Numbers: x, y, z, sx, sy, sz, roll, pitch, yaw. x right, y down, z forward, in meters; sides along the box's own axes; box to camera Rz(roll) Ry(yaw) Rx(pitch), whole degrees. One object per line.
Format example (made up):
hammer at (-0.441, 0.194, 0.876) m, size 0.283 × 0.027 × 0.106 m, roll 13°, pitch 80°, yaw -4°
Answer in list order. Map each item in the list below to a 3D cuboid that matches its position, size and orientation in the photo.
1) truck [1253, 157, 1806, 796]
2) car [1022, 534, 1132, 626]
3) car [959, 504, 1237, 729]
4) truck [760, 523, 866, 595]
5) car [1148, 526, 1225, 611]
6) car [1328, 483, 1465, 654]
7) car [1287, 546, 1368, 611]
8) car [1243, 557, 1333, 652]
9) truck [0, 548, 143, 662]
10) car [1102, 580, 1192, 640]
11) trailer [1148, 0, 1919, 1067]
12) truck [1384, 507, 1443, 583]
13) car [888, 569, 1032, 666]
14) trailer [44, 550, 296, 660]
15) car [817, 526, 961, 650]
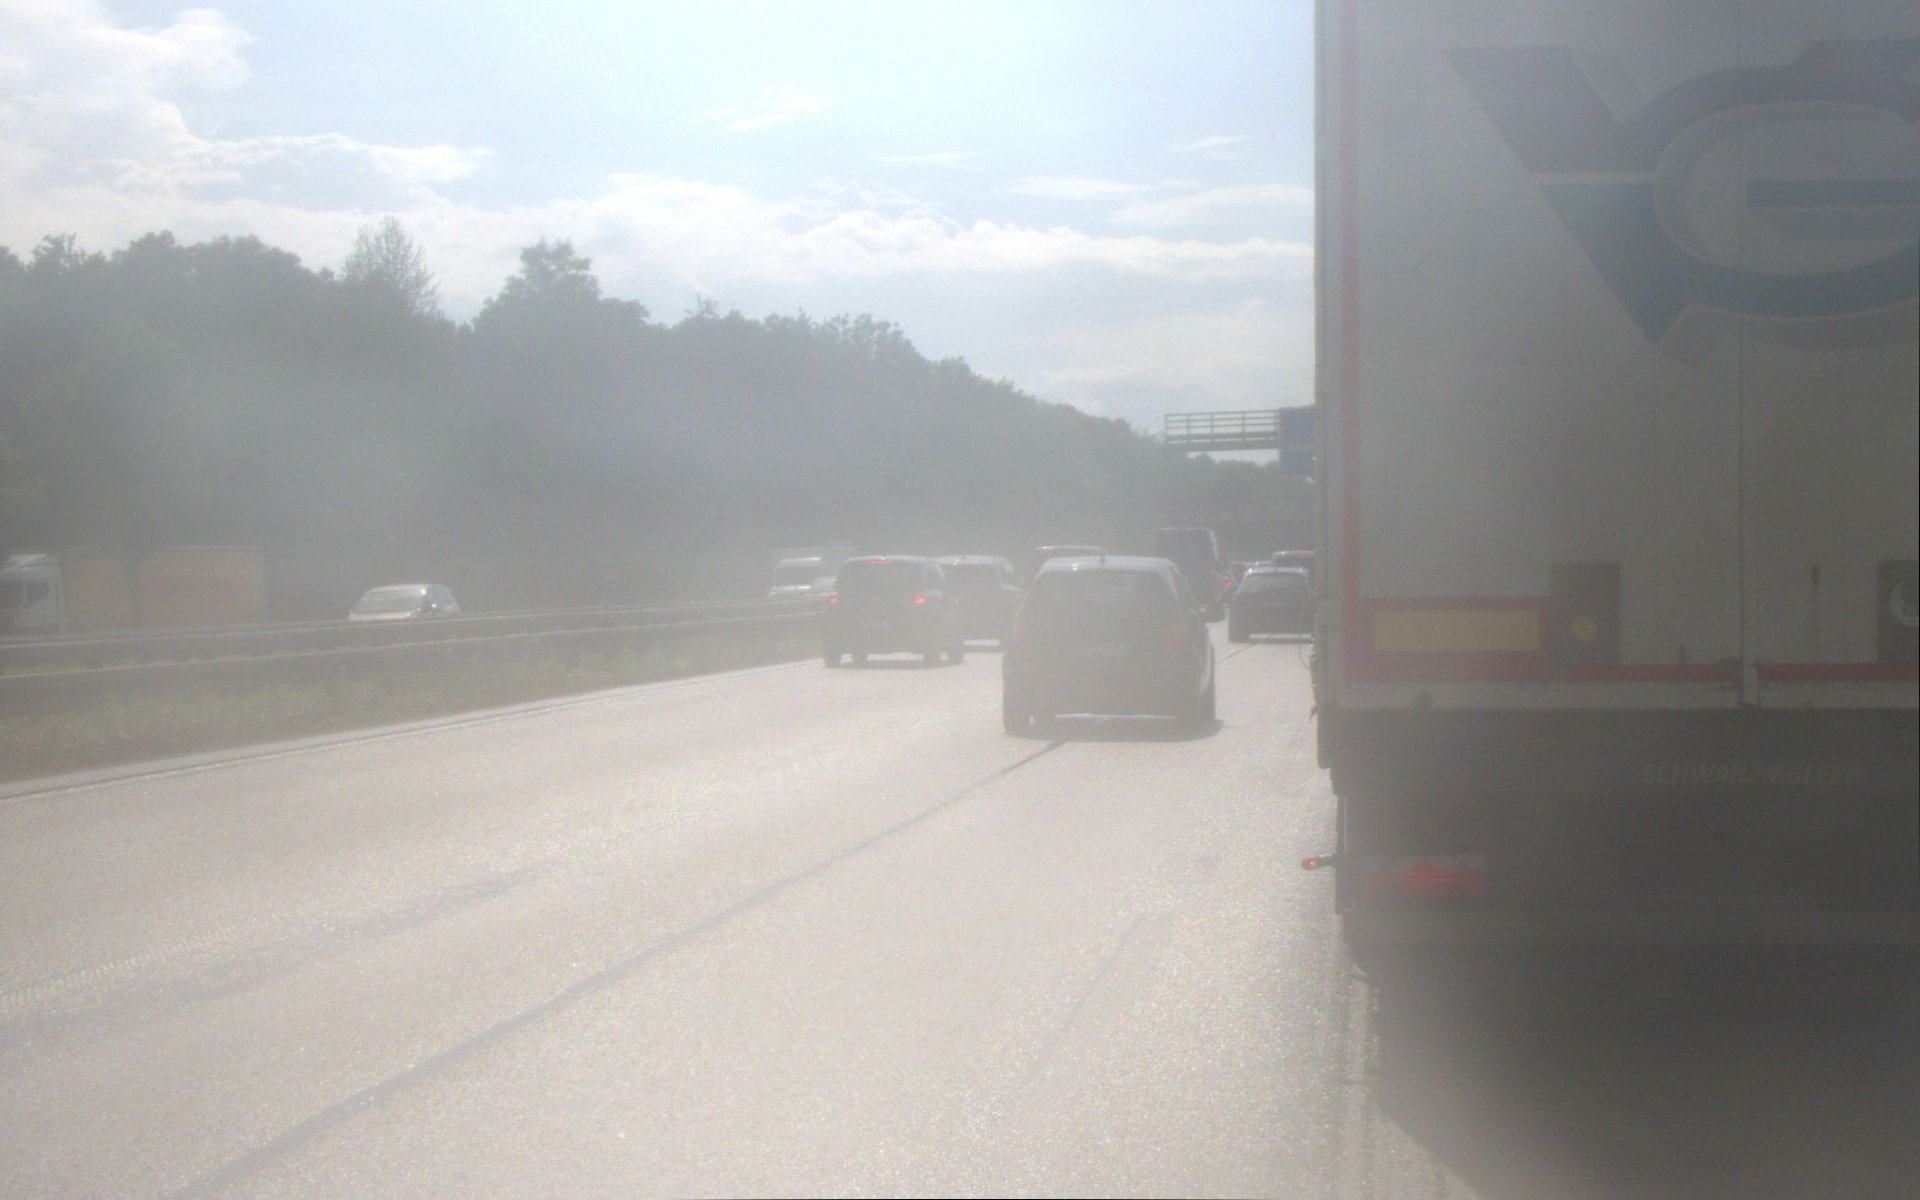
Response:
truck at (3.844, -0.798, 24.233) m, size 3.285 × 3.877 × 6.394 m, roll 1°, pitch 1°, yaw 7°
car at (2.722, -0.448, 78.981) m, size 1.979 × 2.047 × 4.755 m, roll 1°, pitch 0°, yaw 8°
car at (1.390, 0.137, 32.424) m, size 2.275 × 1.948 × 4.820 m, roll 1°, pitch 0°, yaw 6°
truck at (-5.637, -1.542, 133.038) m, size 2.843 × 2.673 × 7.189 m, roll 1°, pitch 0°, yaw 8°
car at (7.138, -0.970, 108.116) m, size 1.994 × 2.606 × 5.257 m, roll 1°, pitch 0°, yaw 8°
car at (15.800, -1.096, 125.803) m, size 4.405 × 5.810 × 16.814 m, roll 1°, pitch 0°, yaw 6°
car at (8.765, -0.503, 82.117) m, size 1.865 × 1.511 × 3.975 m, roll 1°, pitch 0°, yaw 6°
car at (6.472, 0.077, 67.737) m, size 1.693 × 1.798 × 3.975 m, roll 1°, pitch 0°, yaw 6°
truck at (-34.097, 0.174, 128.104) m, size 3.792 × 4.103 × 7.038 m, roll 1°, pitch 0°, yaw 21°
car at (5.079, 0.258, 92.679) m, size 1.994 × 1.559 × 4.755 m, roll 1°, pitch 0°, yaw 8°
trailer at (3.035, -0.676, 16.913) m, size 3.284 × 3.885 × 14.125 m, roll 1°, pitch 1°, yaw 7°
truck at (22.177, -2.669, 167.979) m, size 2.776 × 3.619 × 5.914 m, roll 1°, pitch 0°, yaw 8°
car at (0.048, 0.307, 61.851) m, size 1.909 × 1.631 × 4.615 m, roll -1°, pitch 0°, yaw 8°
trailer at (-31.056, 0.190, 135.960) m, size 3.792 × 4.103 × 11.713 m, roll 1°, pitch 0°, yaw 21°
car at (-1.037, -0.184, 52.248) m, size 1.693 × 1.798 × 3.975 m, roll 1°, pitch 0°, yaw 6°
